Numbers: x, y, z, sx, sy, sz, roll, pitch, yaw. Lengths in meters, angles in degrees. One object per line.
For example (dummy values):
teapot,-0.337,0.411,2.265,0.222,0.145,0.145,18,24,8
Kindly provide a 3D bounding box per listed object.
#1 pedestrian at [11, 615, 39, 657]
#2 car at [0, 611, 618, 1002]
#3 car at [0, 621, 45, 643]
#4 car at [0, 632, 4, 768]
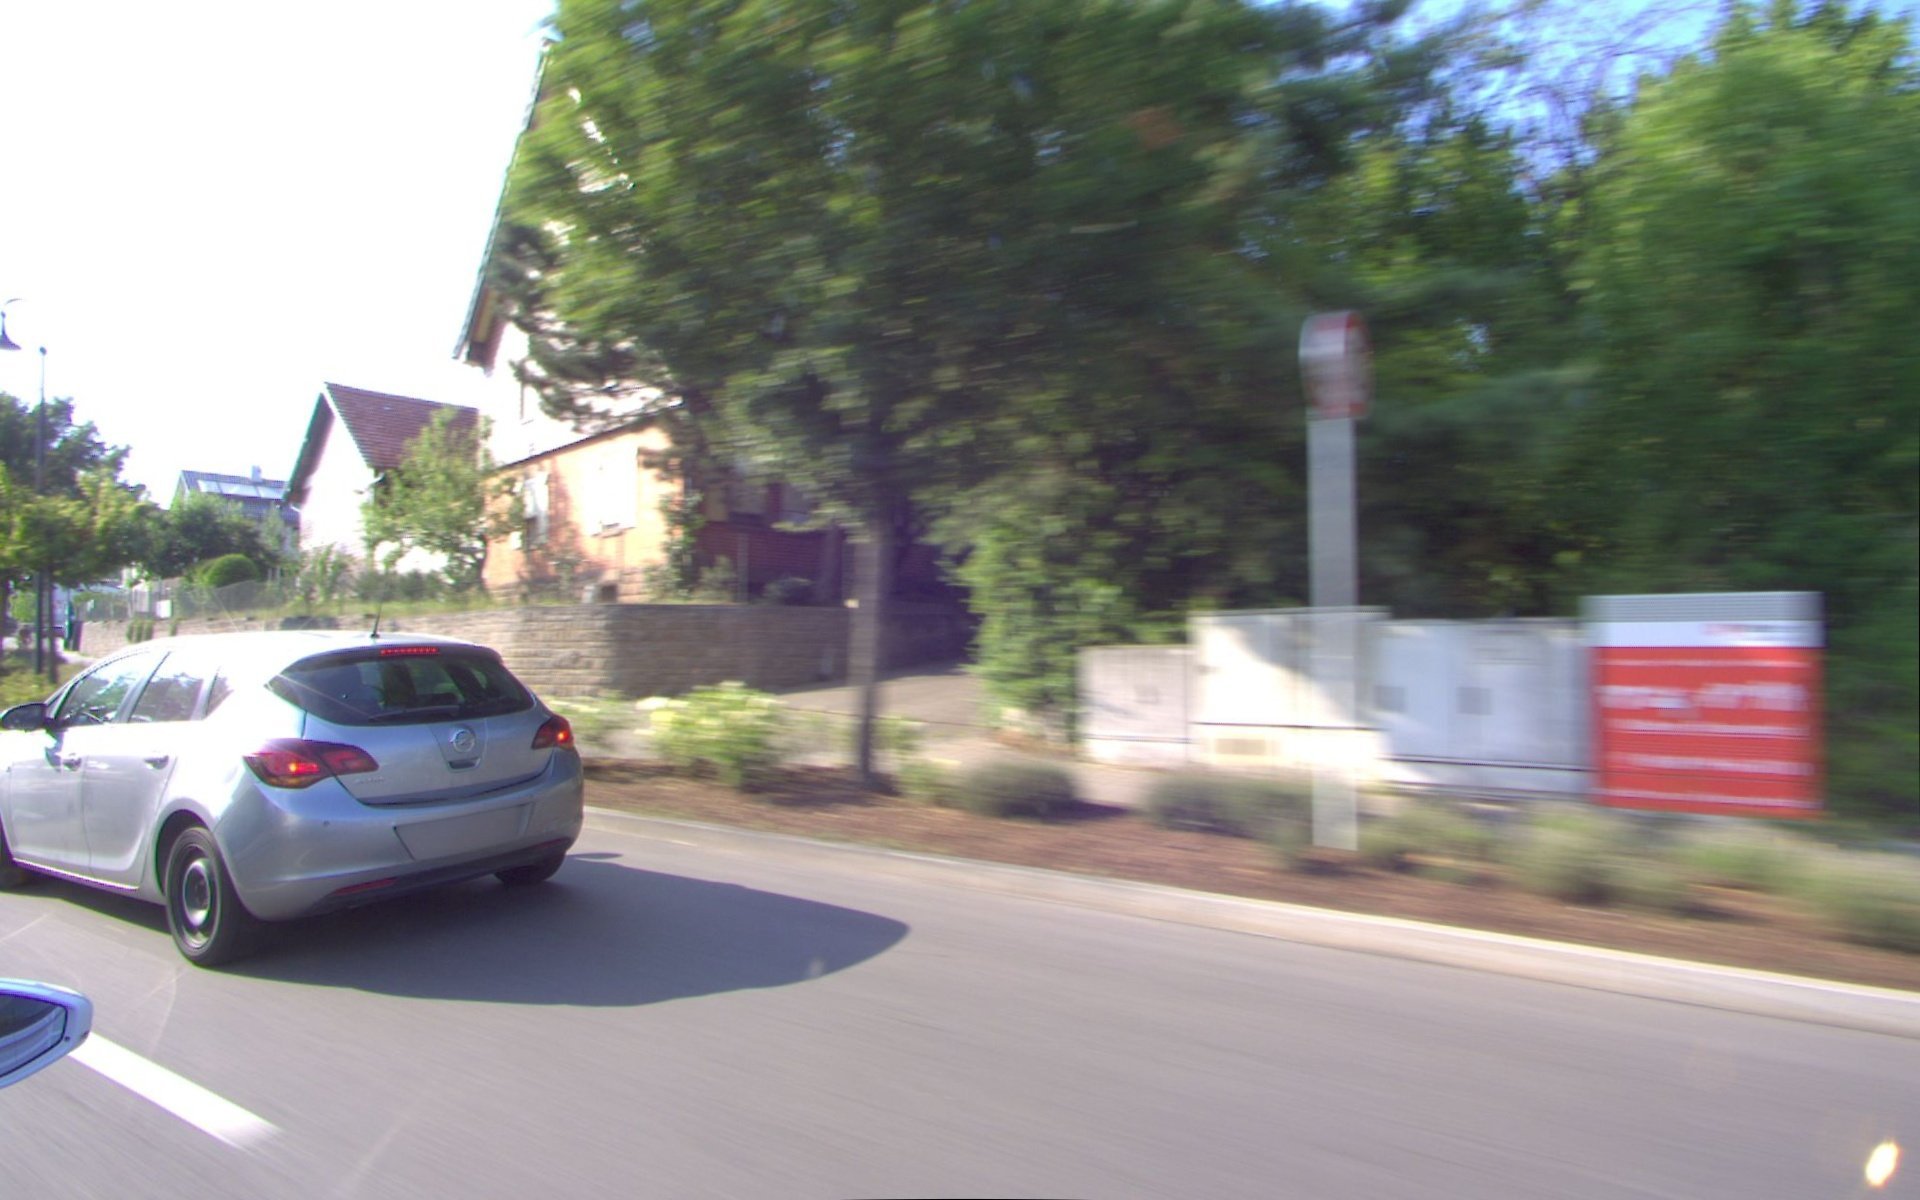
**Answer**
pedestrian,-39.144,1.496,41.940,0.937,1.725,0.693,-1,-1,36
car,-4.075,0.829,5.760,4.244,1.510,1.718,0,-1,32
car,-82.643,2.748,86.730,1.968,1.852,4.632,-1,-1,25
car,-12.021,1.035,10.438,4.289,1.382,1.918,-1,-1,31
